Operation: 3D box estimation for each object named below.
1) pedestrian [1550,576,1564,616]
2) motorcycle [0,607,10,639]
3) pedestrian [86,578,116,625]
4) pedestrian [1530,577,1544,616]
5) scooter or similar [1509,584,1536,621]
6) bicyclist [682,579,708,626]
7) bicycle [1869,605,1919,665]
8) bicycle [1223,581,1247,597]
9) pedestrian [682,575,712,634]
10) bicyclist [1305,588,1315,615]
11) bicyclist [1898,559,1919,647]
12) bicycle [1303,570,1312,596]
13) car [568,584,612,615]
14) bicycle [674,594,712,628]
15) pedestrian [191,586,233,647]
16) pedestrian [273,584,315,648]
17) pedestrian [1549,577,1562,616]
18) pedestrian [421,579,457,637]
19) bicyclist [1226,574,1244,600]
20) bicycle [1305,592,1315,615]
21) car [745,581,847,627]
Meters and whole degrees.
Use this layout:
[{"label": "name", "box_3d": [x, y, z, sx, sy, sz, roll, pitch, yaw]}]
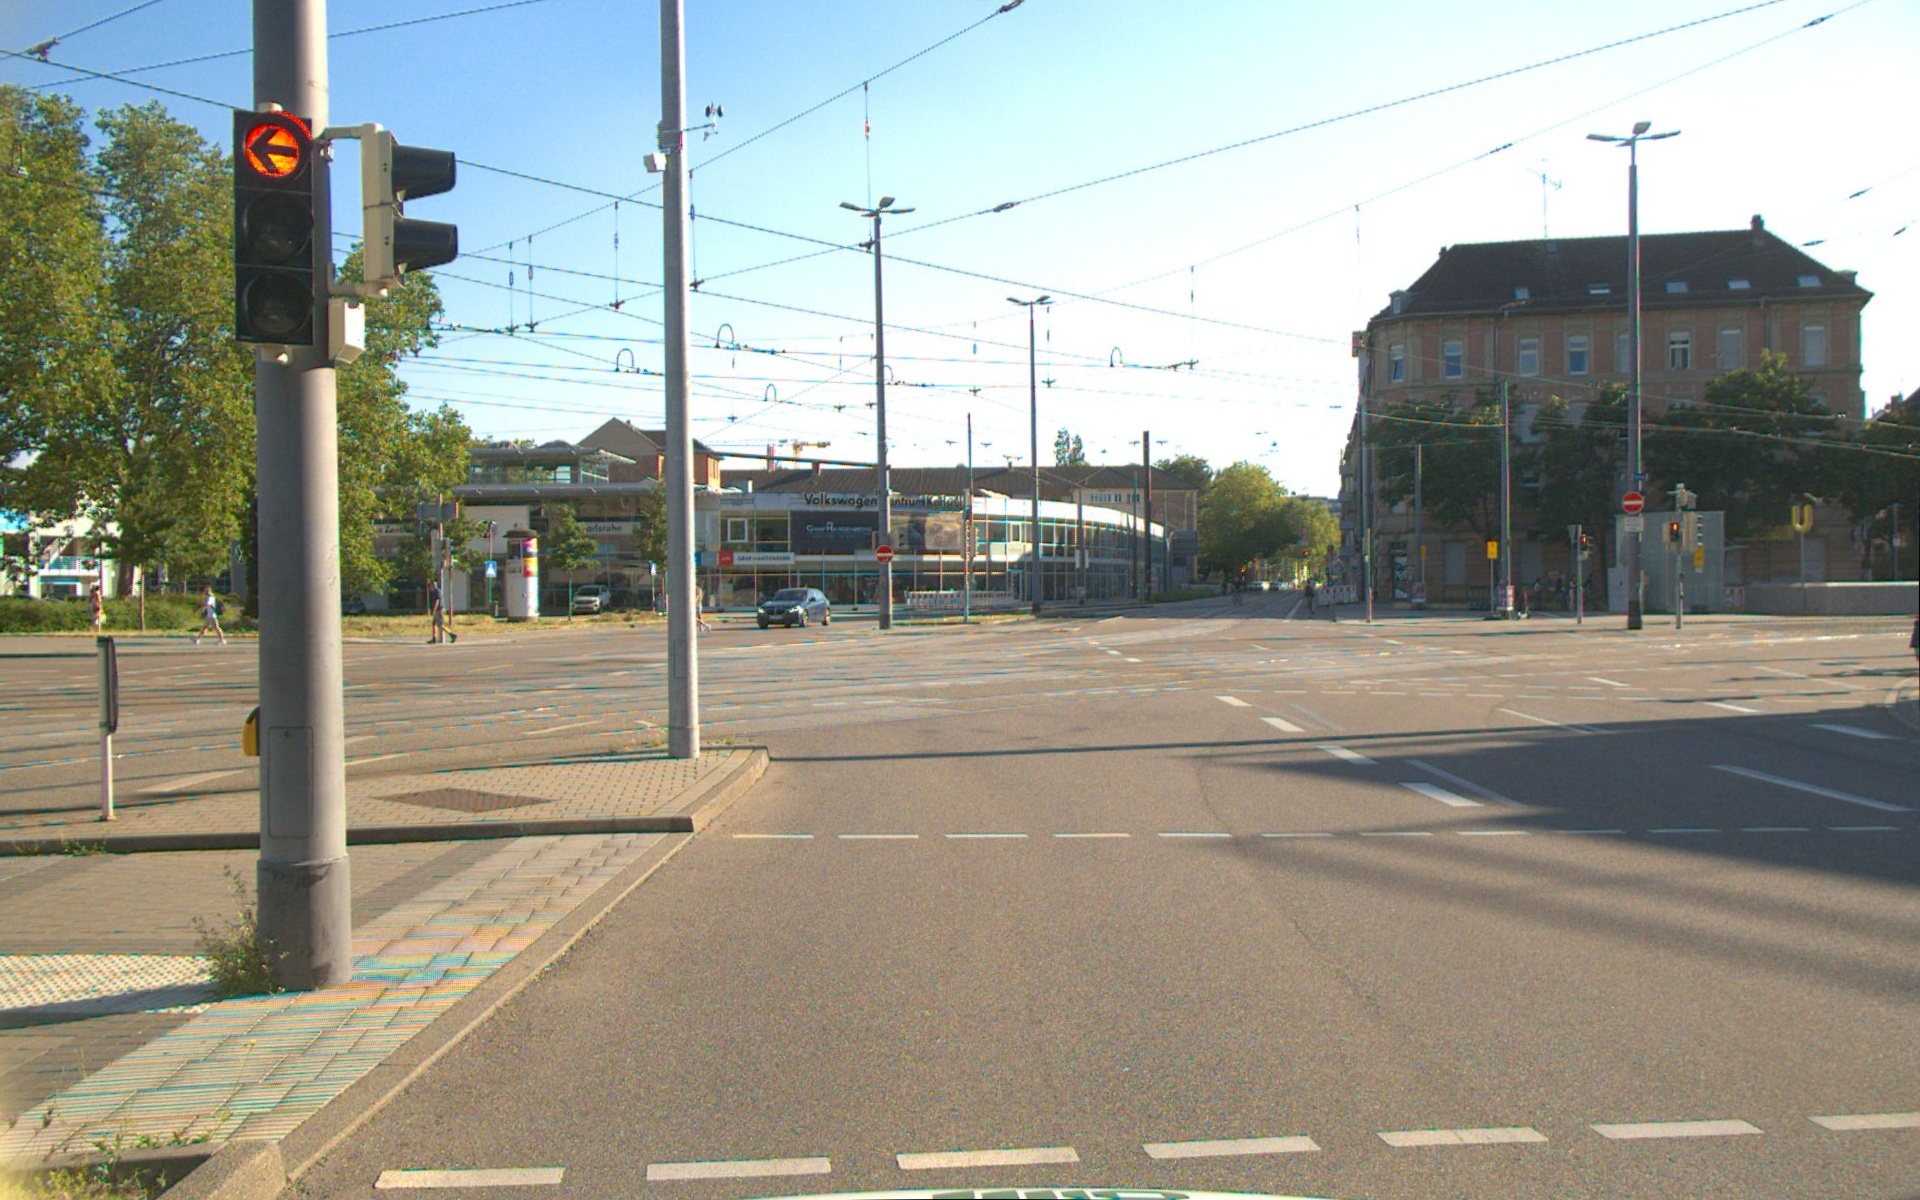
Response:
[{"label": "pedestrian", "box_3d": [30.911, -0.207, 85.696, 0.589, 2.049, 0.647, -1, 0, 14]}, {"label": "motorcycle", "box_3d": [-28.926, 0.667, 48.500, 1.748, 0.930, 0.675, 1, 0, -21]}, {"label": "pedestrian", "box_3d": [-31.602, 0.066, 60.846, 0.839, 1.723, 0.496, 1, -1, -3]}, {"label": "pedestrian", "box_3d": [30.165, -0.180, 86.503, 0.589, 2.049, 0.647, -1, 0, 14]}, {"label": "scooter or similar", "box_3d": [21.589, 0.099, 63.486, 0.769, 1.400, 1.910, 1, 0, 13]}, {"label": "bicyclist", "box_3d": [-9.540, 0.094, 59.610, 0.585, 1.644, 0.823, 1, -1, 16]}, {"label": "bicycle", "box_3d": [17.642, 0.653, 30.169, 0.524, 1.067, 2.316, 1, 1, -9]}, {"label": "bicycle", "box_3d": [17.202, -0.679, 103.511, 0.650, 0.969, 1.584, 1, 0, -30]}, {"label": "pedestrian", "box_3d": [-8.652, 0.146, 54.415, 0.777, 1.919, 0.759, 1, -1, 6]}, {"label": "bicyclist", "box_3d": [15.208, 0.068, 71.885, 0.399, 1.136, 0.399, 1, -1, 11]}, {"label": "bicyclist", "box_3d": [17.658, 0.058, 30.133, 0.505, 1.584, 0.945, 1, 0, -9]}, {"label": "bicycle", "box_3d": [27.931, -1.344, 132.833, 0.604, 2.049, 2.402, 1, 0, 13]}, {"label": "car", "box_3d": [-22.162, -0.048, 99.059, 1.954, 1.780, 3.997, 1, 0, -4]}, {"label": "bicycle", "box_3d": [-9.588, 0.397, 59.487, 0.599, 1.210, 1.870, 1, 0, 17]}, {"label": "pedestrian", "box_3d": [-21.535, 0.480, 47.617, 0.777, 1.736, 0.759, 1, -1, 6]}, {"label": "pedestrian", "box_3d": [-18.344, 0.428, 45.591, 0.777, 1.736, 0.759, 1, -1, 6]}, {"label": "pedestrian", "box_3d": [31.263, -0.196, 86.833, 0.589, 2.049, 0.647, -1, 0, 14]}, {"label": "pedestrian", "box_3d": [-15.905, 0.251, 50.488, 0.777, 1.736, 0.759, 1, -1, 6]}, {"label": "bicyclist", "box_3d": [17.212, -0.817, 103.517, 0.763, 1.604, 0.754, 1, -1, -30]}, {"label": "bicycle", "box_3d": [15.183, 0.160, 71.799, 0.401, 0.958, 1.847, 1, 0, 12]}, {"label": "car", "box_3d": [-6.074, 0.163, 61.665, 1.954, 1.613, 3.996, 1, 0, 26]}]
